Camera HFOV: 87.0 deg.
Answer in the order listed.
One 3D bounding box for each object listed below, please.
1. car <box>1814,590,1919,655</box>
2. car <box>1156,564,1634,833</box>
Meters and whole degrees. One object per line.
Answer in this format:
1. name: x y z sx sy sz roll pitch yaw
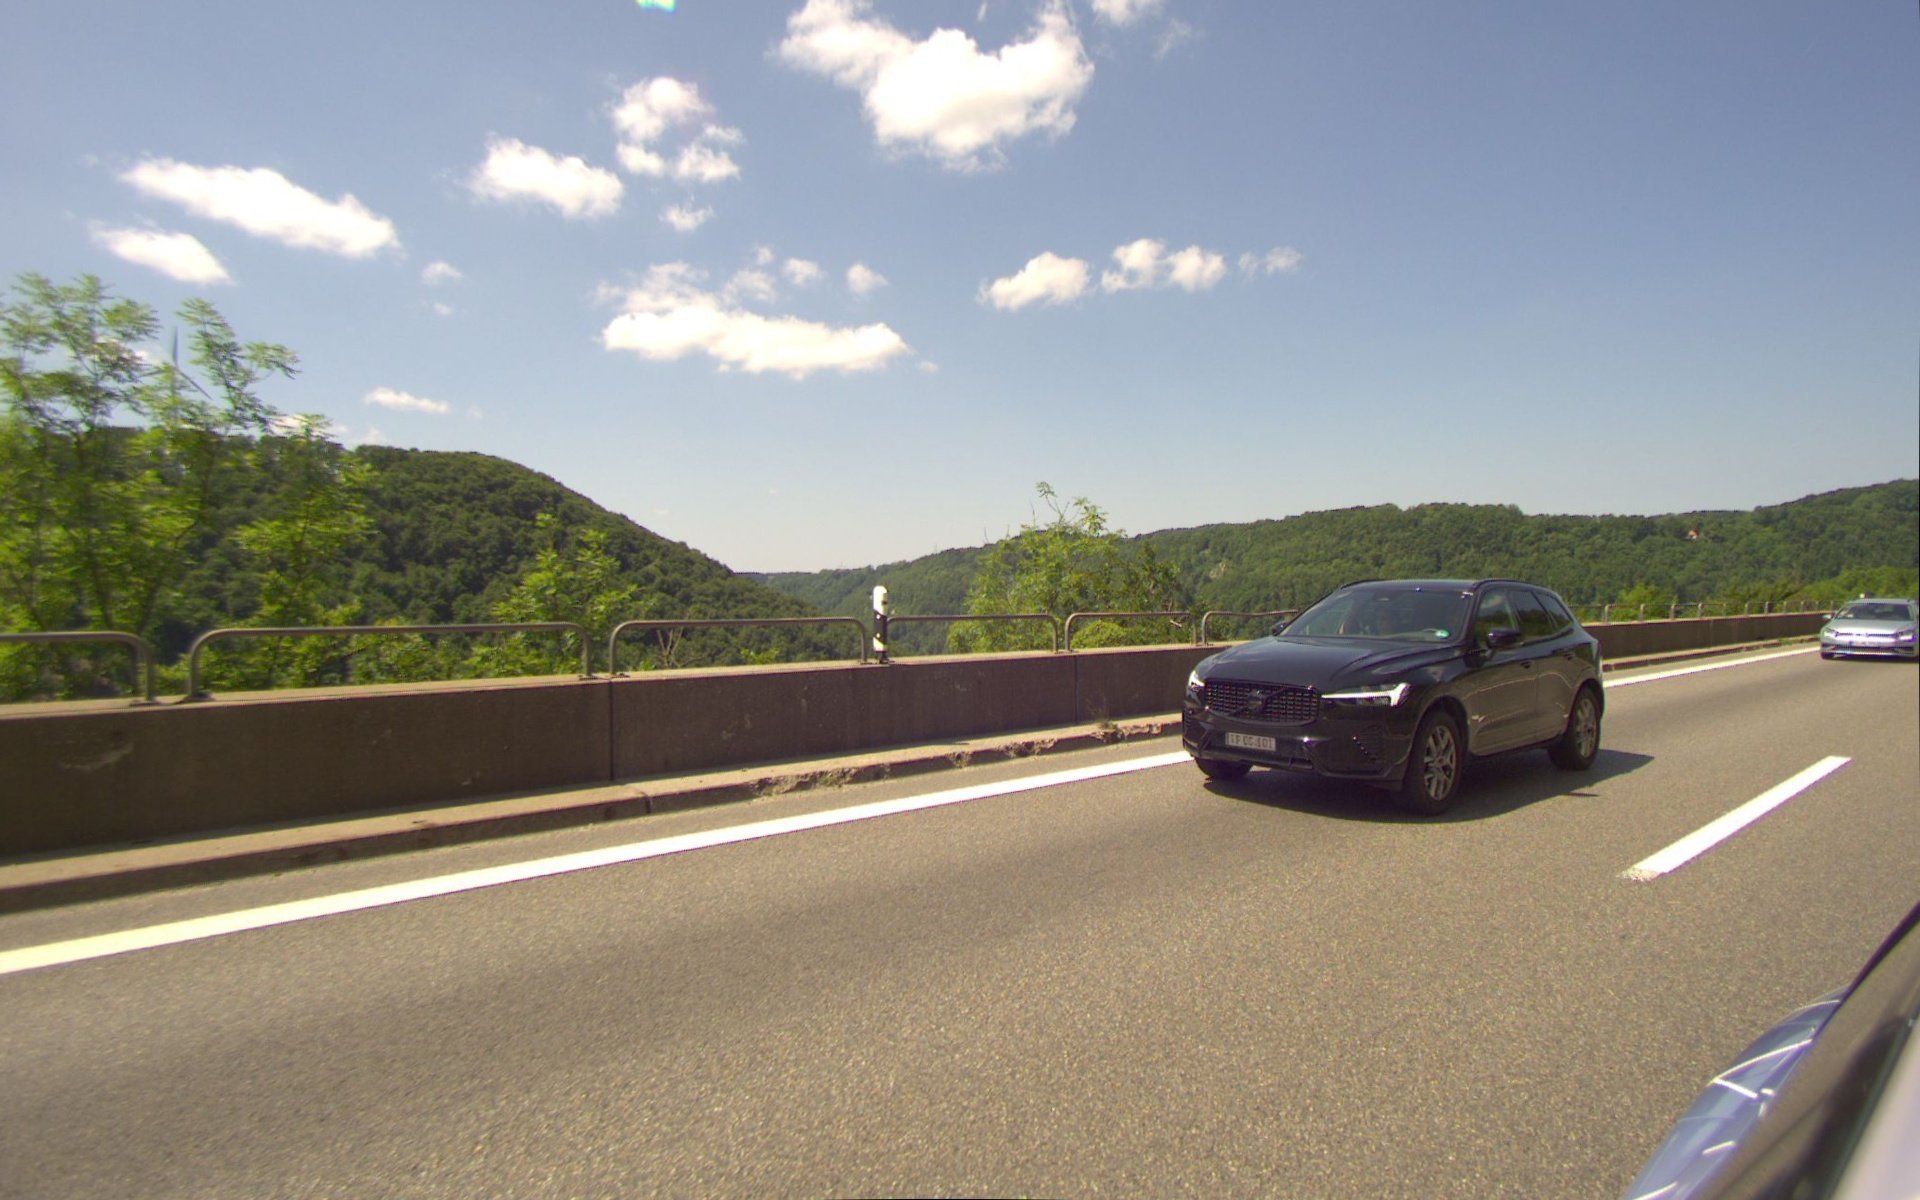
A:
1. car: 22.298 0.476 24.283 4.216 1.395 1.972 -1 1 -38
2. car: 3.800 0.556 8.416 4.581 1.653 1.838 -1 2 -41
